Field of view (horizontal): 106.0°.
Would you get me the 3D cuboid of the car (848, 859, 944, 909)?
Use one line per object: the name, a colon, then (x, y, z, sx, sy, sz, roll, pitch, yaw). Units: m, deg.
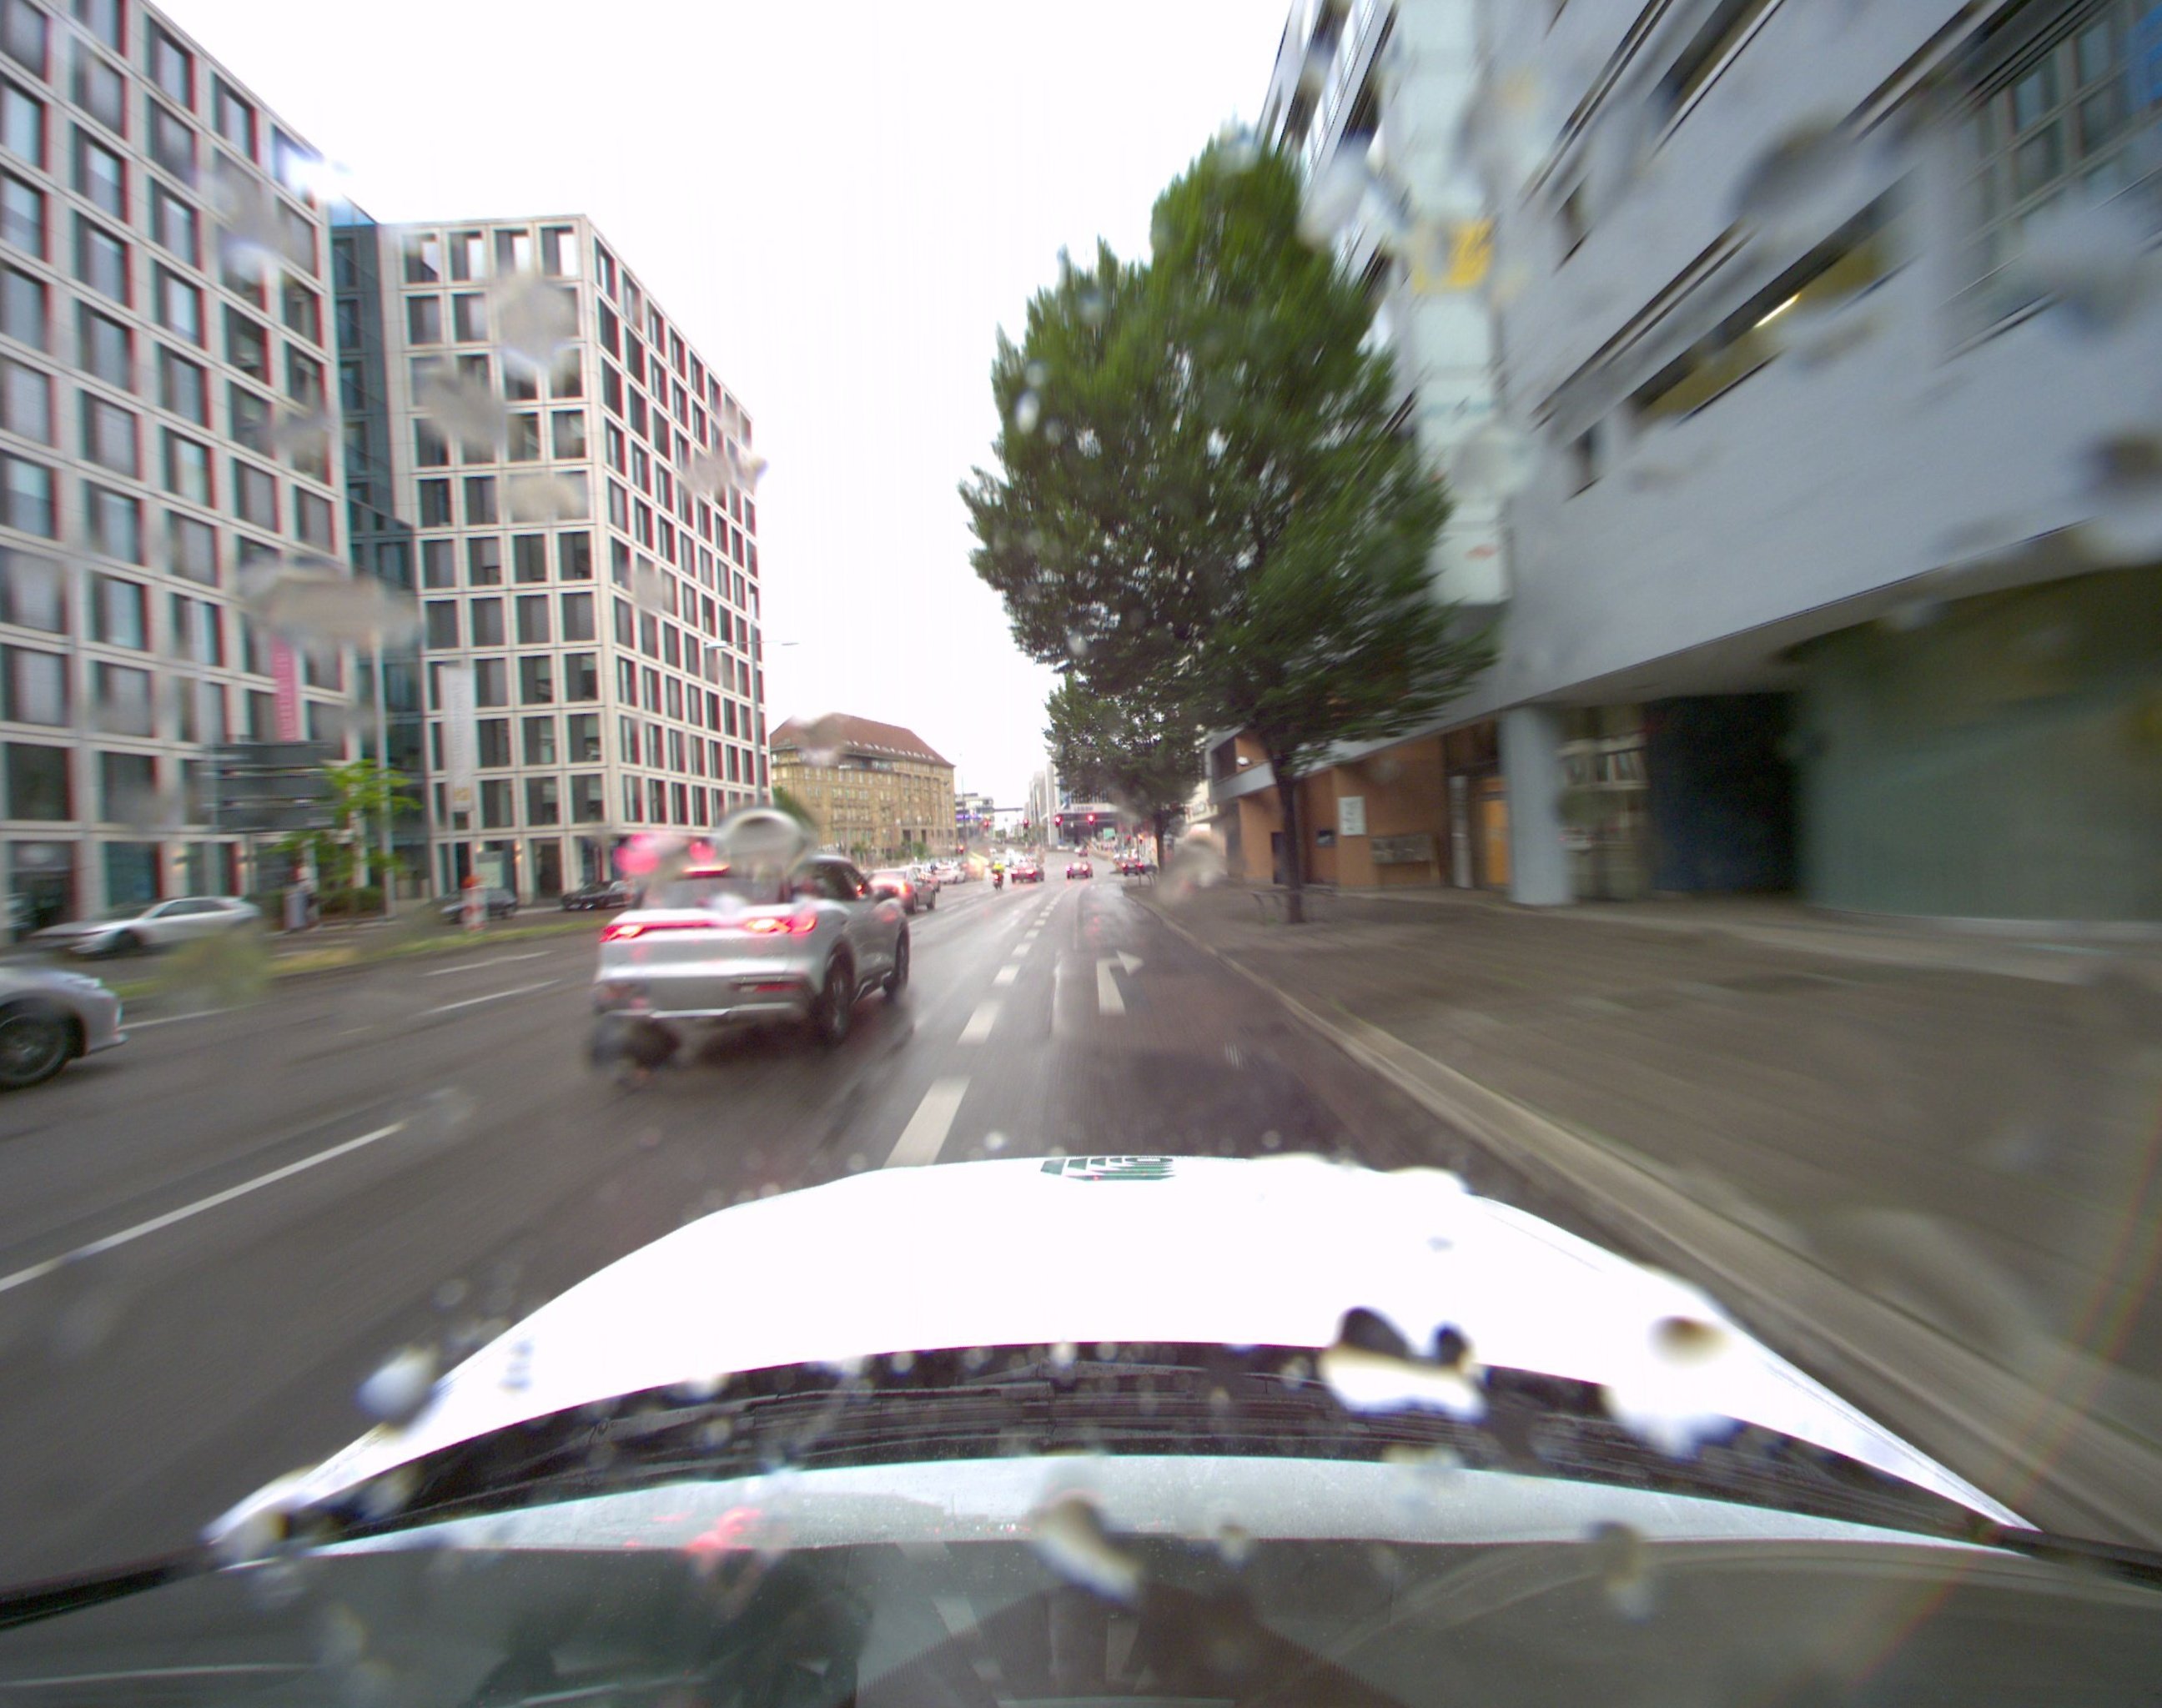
car: (-5.884, 0.912, 26.435, 1.725, 1.403, 4.389, -2, 0, 5)

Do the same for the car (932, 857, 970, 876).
car: (-10.297, 0.939, 64.656, 1.773, 1.373, 4.003, -2, 0, 8)

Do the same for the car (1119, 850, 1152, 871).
car: (4.555, 0.513, 67.624, 1.877, 1.544, 4.010, -2, 0, 15)

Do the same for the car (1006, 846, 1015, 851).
car: (-18.605, -1.465, 214.405, 1.761, 1.260, 4.194, -2, 0, 1)

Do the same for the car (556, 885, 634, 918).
car: (-26.216, 2.546, 44.083, 1.692, 1.423, 3.955, -4, 0, 0)

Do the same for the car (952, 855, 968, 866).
car: (-17.916, 0.940, 121.116, 1.797, 1.574, 4.072, -2, 0, -2)

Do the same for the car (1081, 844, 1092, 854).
car: (1.019, -0.963, 164.524, 1.989, 2.013, 3.996, -2, 0, -3)

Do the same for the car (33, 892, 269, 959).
car: (-26.686, 1.985, 23.650, 1.692, 1.423, 4.374, -4, 0, 0)

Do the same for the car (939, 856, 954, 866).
car: (-20.726, 1.056, 125.969, 1.693, 1.574, 3.997, -2, 0, -2)

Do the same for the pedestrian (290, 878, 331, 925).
pedestrian: (-29.297, 1.786, 30.970, 0.611, 1.734, 0.966, -2, 0, -2)

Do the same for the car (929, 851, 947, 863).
car: (-20.642, 0.468, 117.772, 1.692, 1.519, 3.874, -4, 0, 0)

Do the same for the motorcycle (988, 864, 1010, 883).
motorcycle: (-4.704, 1.102, 47.086, 0.938, 0.989, 2.295, -2, 0, 2)

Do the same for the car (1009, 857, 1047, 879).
car: (-3.980, 1.068, 62.187, 1.877, 1.515, 5.013, -2, 0, 7)

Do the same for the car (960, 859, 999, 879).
car: (-8.823, 1.257, 71.096, 1.769, 1.599, 4.090, -2, 0, 16)

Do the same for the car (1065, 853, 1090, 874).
car: (-0.236, 0.770, 67.997, 1.776, 1.402, 4.491, -2, 2, 3)

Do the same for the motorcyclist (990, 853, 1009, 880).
motorcyclist: (-4.703, 0.716, 47.077, 0.938, 1.475, 1.101, -2, 0, 1)

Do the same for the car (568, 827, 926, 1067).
car: (-2.804, 0.671, 7.977, 1.803, 1.661, 4.168, -2, 0, -1)

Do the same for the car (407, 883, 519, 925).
car: (-26.452, 2.109, 35.025, 1.692, 1.423, 3.955, -4, 0, 0)

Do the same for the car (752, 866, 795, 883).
car: (-35.101, 2.308, 93.072, 4.390, 1.662, 1.989, -2, 0, -16)

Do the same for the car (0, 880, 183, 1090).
car: (-8.939, 1.026, 4.879, 1.826, 1.521, 4.798, -2, 0, -2)

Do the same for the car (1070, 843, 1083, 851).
car: (-1.072, -1.651, 194.169, 2.000, 1.816, 3.973, -2, 0, -20)

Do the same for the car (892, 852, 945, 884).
car: (-8.881, 0.722, 44.836, 1.724, 1.616, 4.007, -2, 0, 6)
